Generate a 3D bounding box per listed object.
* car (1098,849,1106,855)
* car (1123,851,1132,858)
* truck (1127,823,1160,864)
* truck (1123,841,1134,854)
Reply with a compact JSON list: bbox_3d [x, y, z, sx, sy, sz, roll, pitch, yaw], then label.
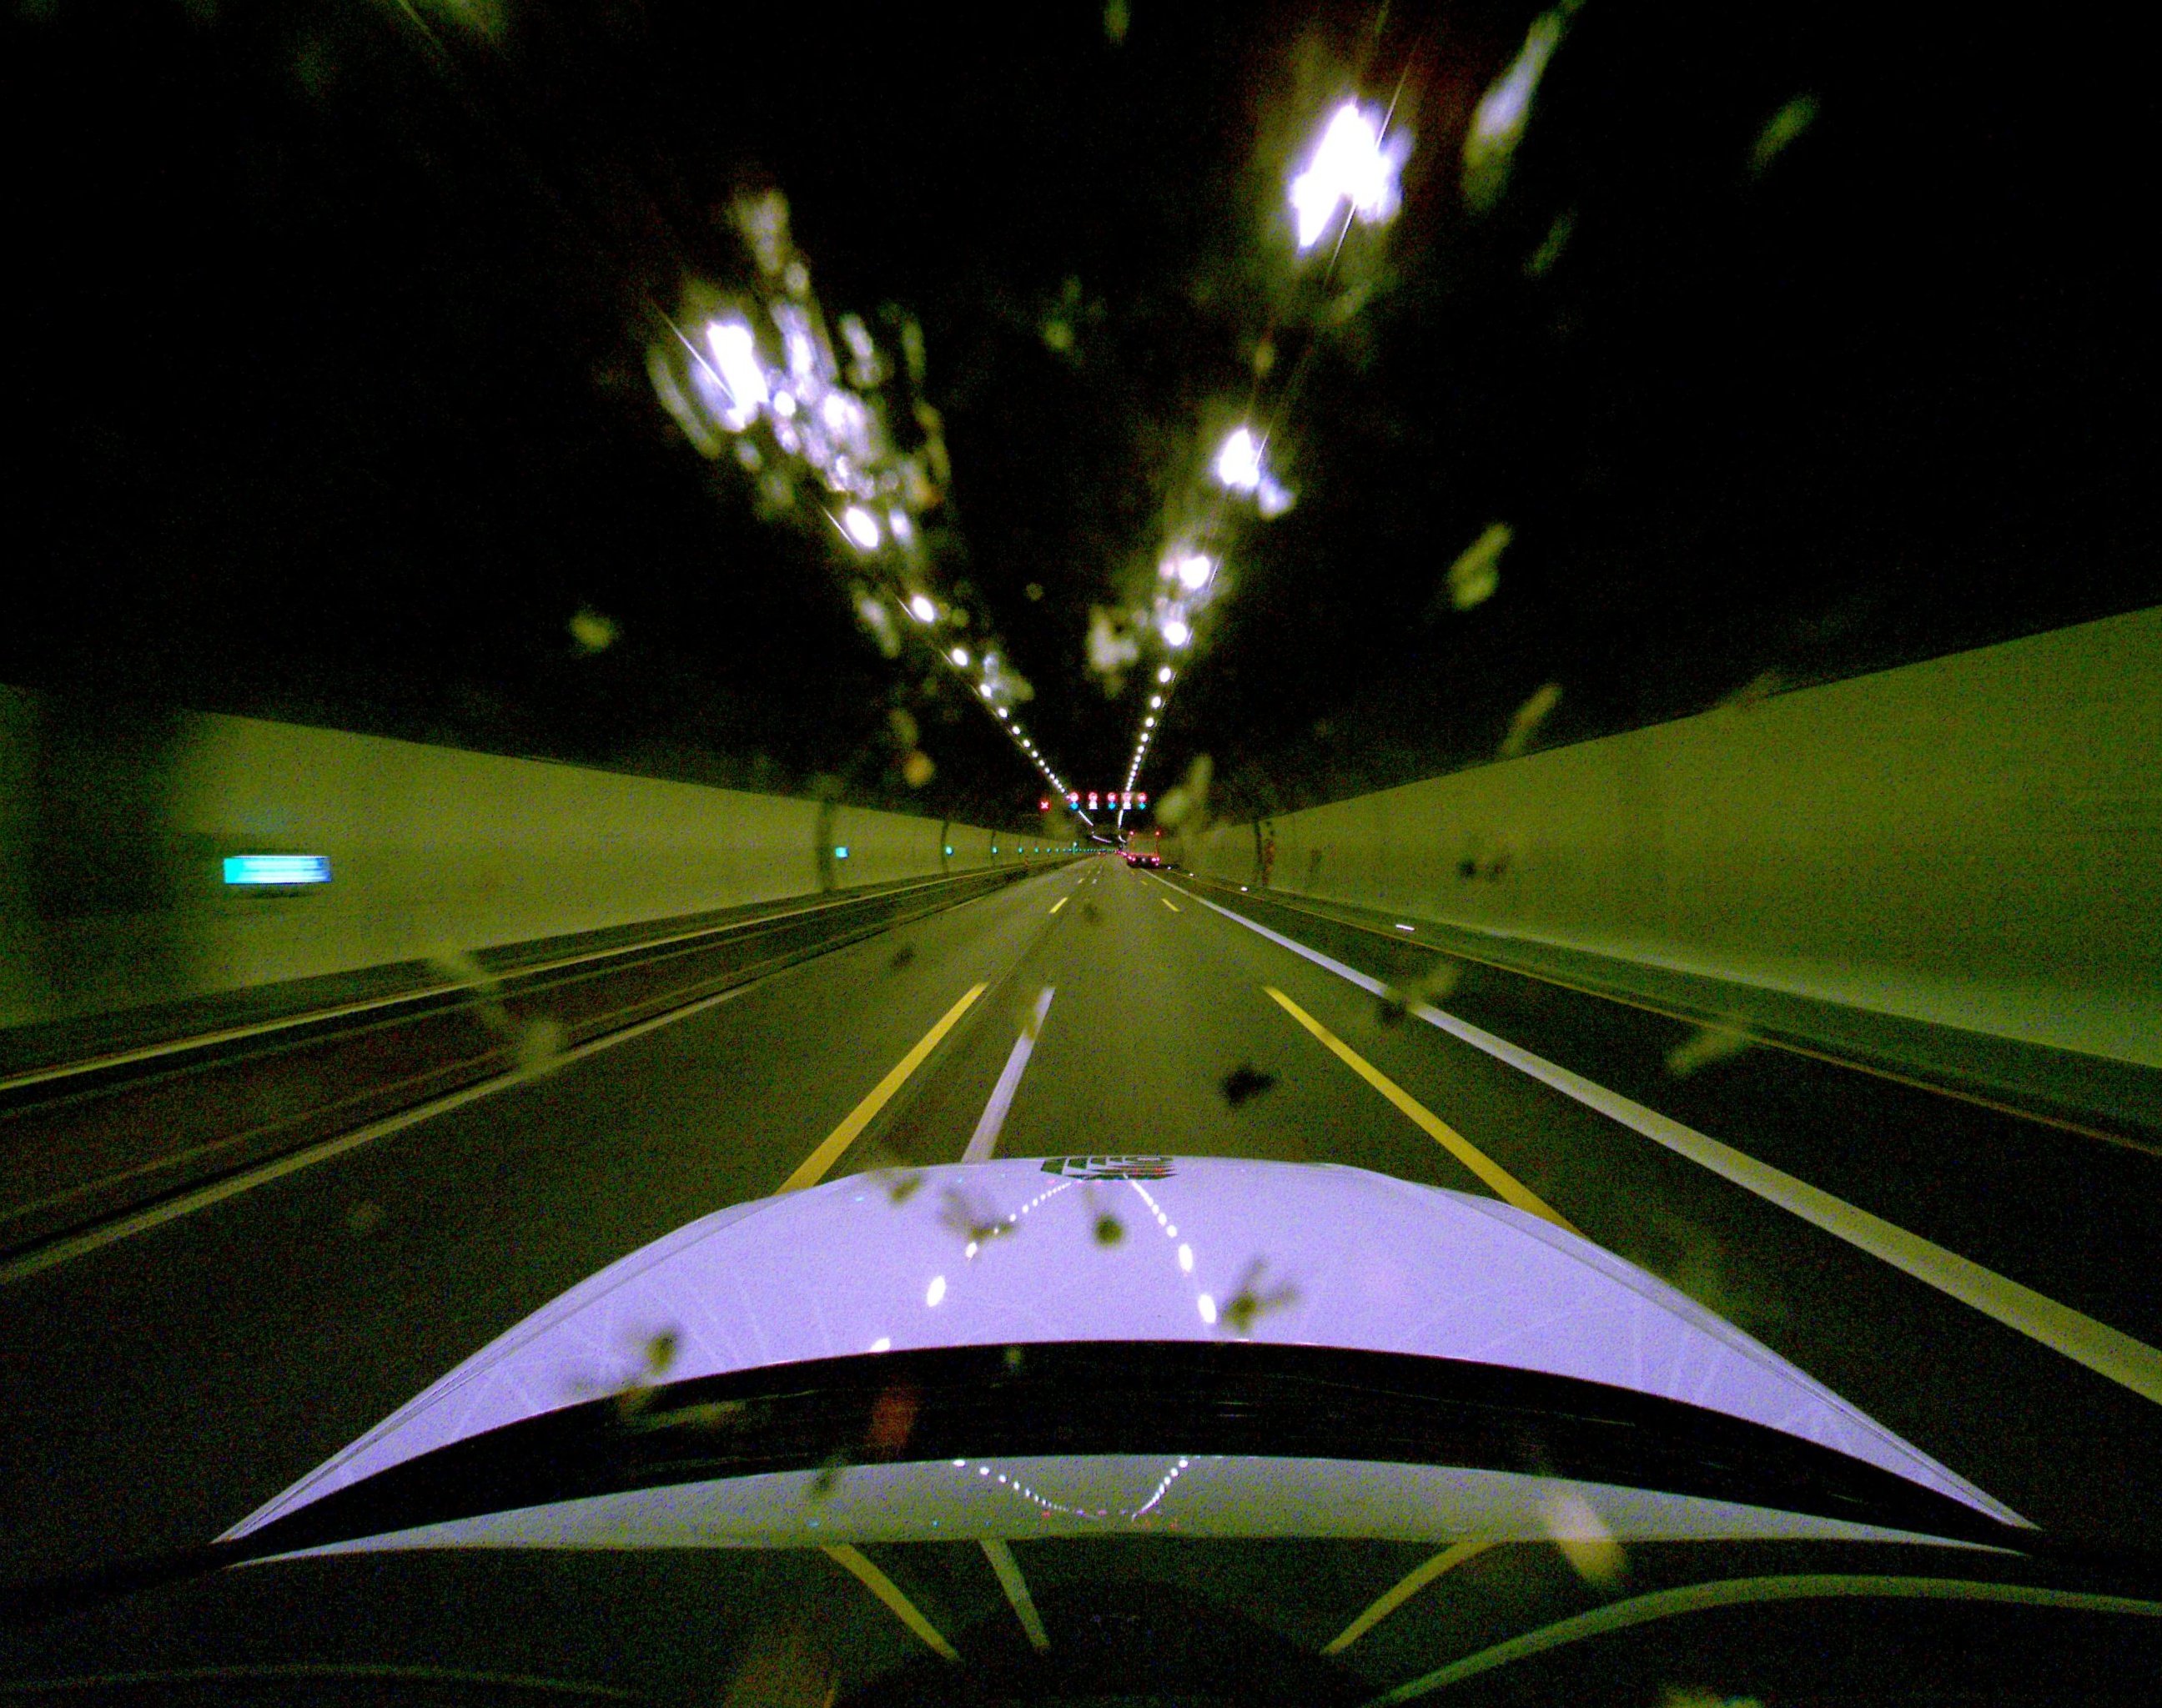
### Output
[{"bbox_3d":[5.388,-0.485,208.585,1.751,1.461,4.122,-1,1,3],"label":"car"},{"bbox_3d":[9.772,0.082,171.723,1.732,1.461,3.964,-1,1,4],"label":"car"},{"bbox_3d":[6.242,-0.961,82.728,3.079,3.918,10.374,0,0,3],"label":"truck"},{"bbox_3d":[13.956,-1.857,240.015,3.053,3.918,10.378,0,0,4],"label":"truck"}]
